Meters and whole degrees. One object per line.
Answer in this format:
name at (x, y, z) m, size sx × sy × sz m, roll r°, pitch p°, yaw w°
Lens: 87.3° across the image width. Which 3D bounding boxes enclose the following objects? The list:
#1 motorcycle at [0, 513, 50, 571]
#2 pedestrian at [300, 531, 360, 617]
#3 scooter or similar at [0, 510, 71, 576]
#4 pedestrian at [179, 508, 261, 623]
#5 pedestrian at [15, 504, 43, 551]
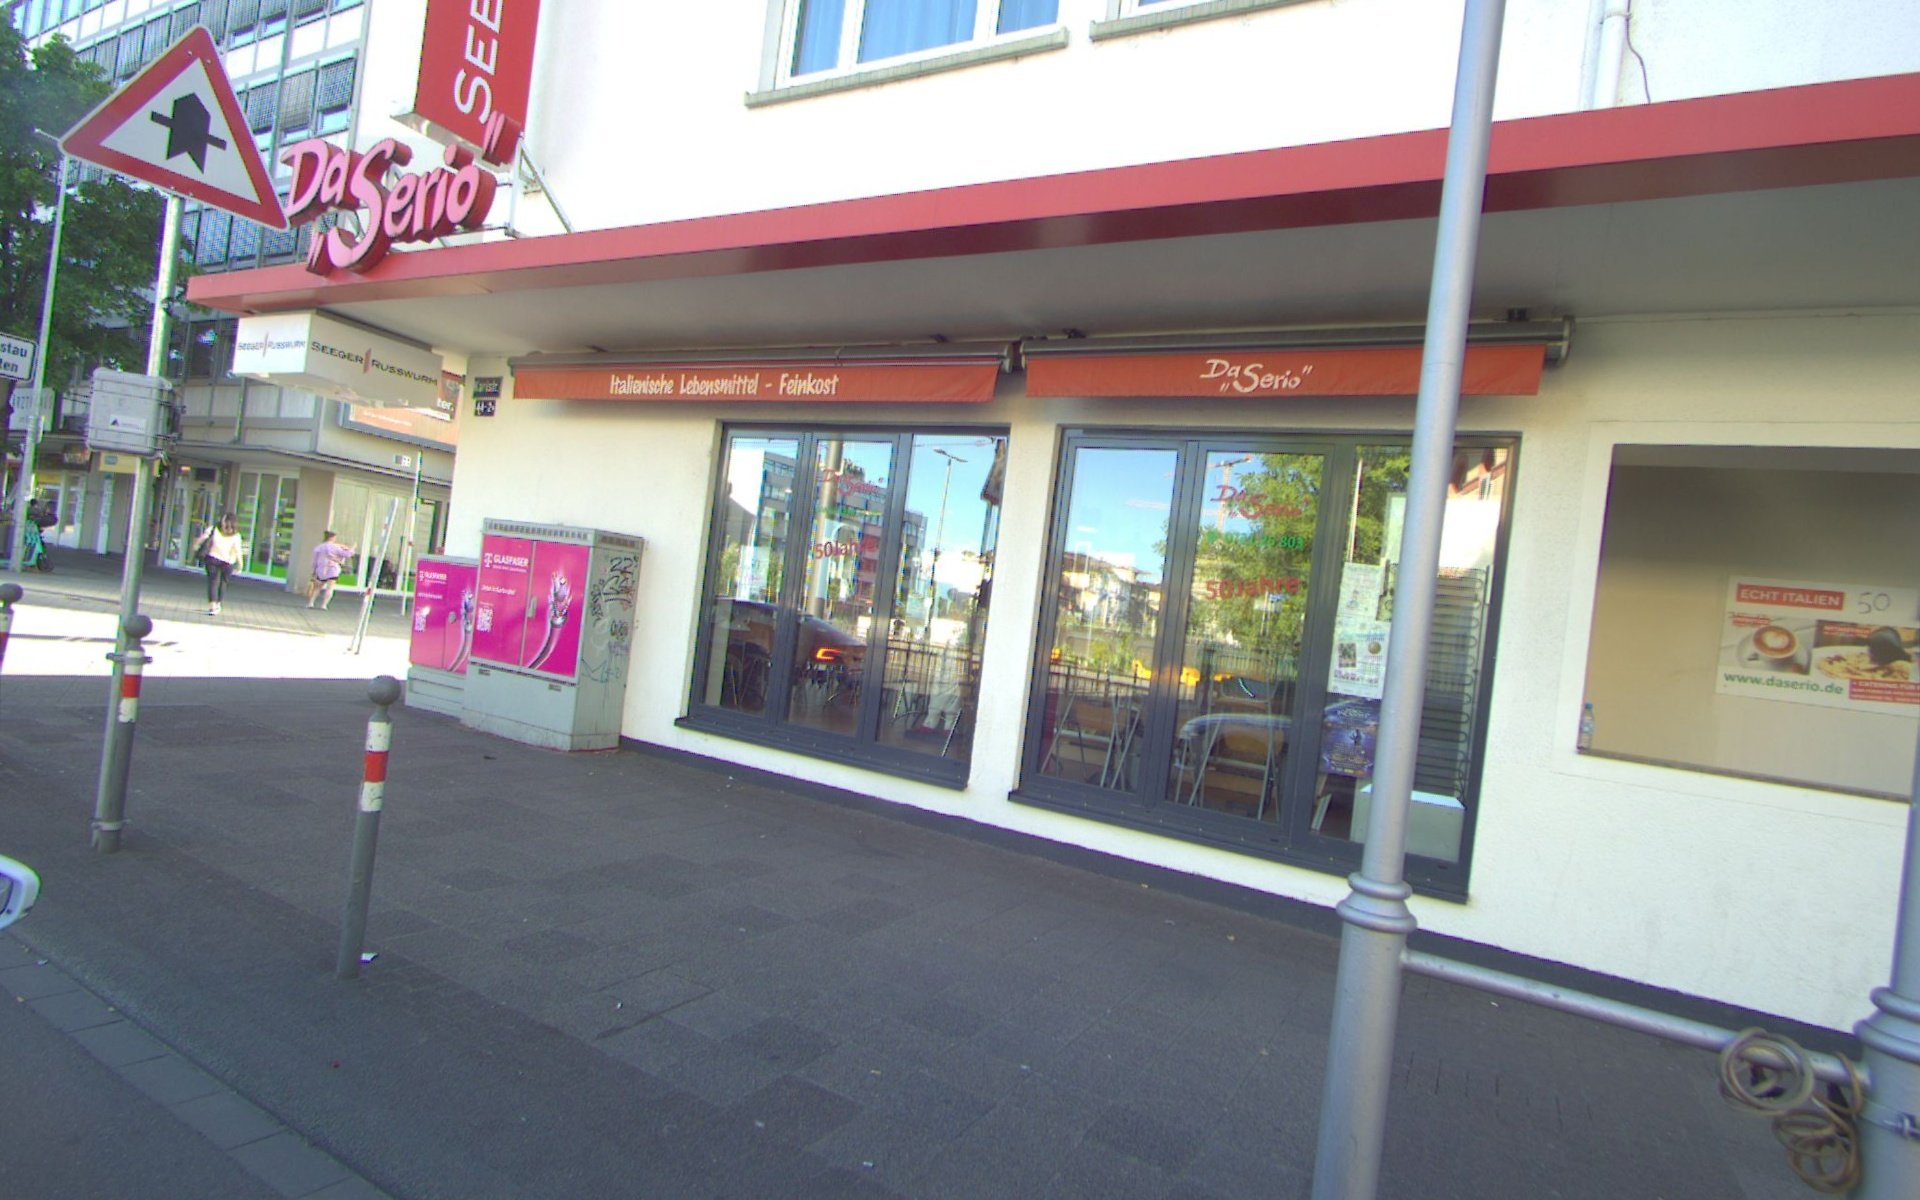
motorcycle at (-21.529, -1.362, 22.383) m, size 0.532 × 1.186 × 1.711 m, roll 7°, pitch -2°, yaw 30°
pedestrian at (-13.502, -0.558, 21.568) m, size 0.884 × 1.687 × 0.801 m, roll 8°, pitch -1°, yaw -35°
scooter or similar at (-19.948, -1.230, 21.186) m, size 1.628 × 1.229 × 0.640 m, roll 8°, pitch -1°, yaw -29°
pedestrian at (-12.480, -0.570, 17.012) m, size 0.909 × 1.772 × 1.029 m, roll 8°, pitch -1°, yaw -35°
pedestrian at (-28.279, -2.210, 30.547) m, size 0.504 × 1.359 × 0.390 m, roll 6°, pitch -1°, yaw 34°
